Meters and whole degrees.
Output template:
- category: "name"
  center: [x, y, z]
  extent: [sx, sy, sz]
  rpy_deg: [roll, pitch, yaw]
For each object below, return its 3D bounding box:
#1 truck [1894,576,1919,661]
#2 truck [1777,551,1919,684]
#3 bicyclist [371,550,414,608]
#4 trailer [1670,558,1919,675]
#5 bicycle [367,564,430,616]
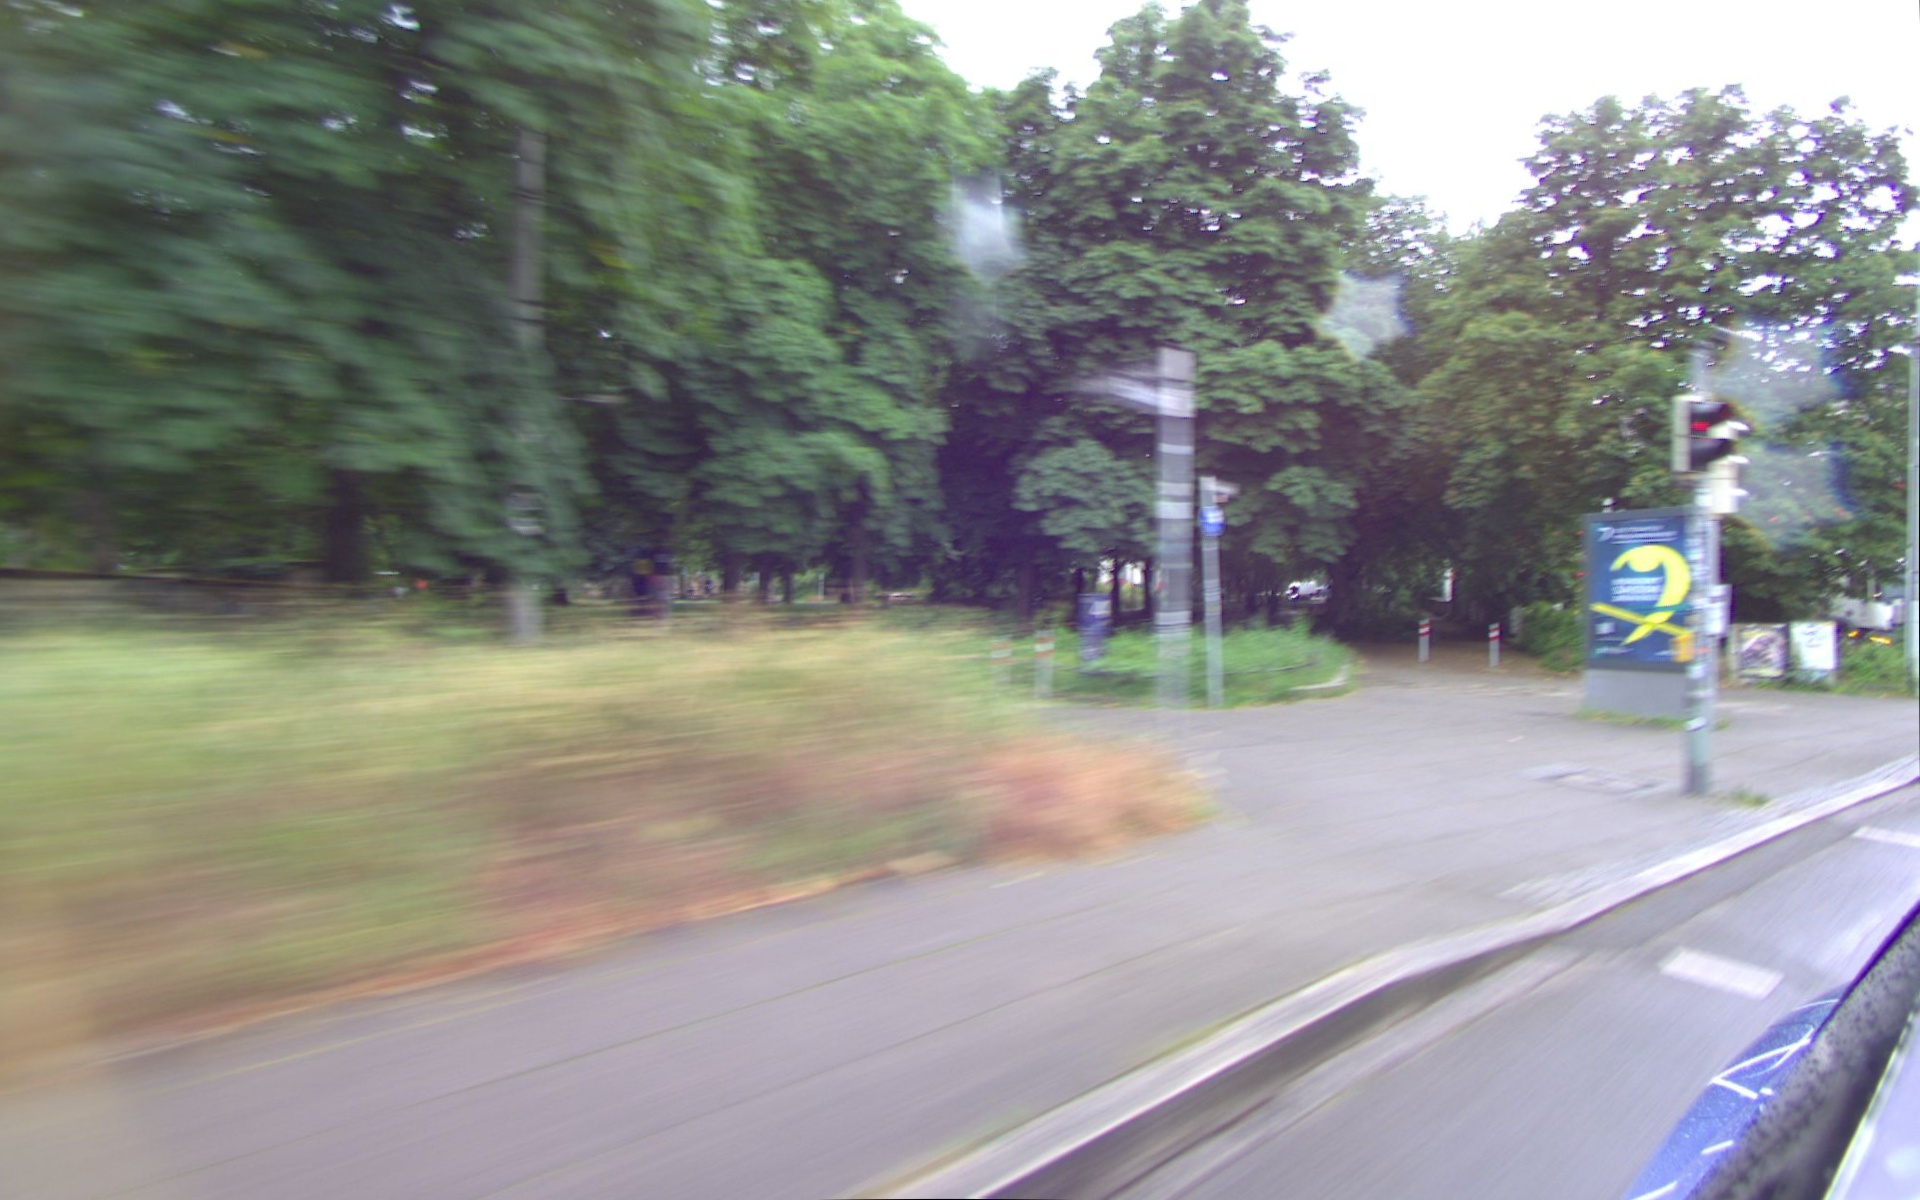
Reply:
- category: "truck"
  center: [45.277, 0.848, 44.855]
  extent: [10.047, 3.614, 2.666]
  rpy_deg: [1, 0, -29]
- category: "truck"
  center: [26.520, 0.474, 28.935]
  extent: [2.799, 3.442, 6.090]
  rpy_deg: [2, 0, 18]
- category: "bicyclist"
  center: [-13.189, -0.488, 23.526]
  extent: [0.795, 1.310, 0.587]
  rpy_deg: [1, 1, 36]
- category: "trailer"
  center: [28.291, 0.443, 35.045]
  extent: [2.773, 3.438, 9.790]
  rpy_deg: [1, 0, 15]
- category: "bicycle"
  center: [-12.926, -0.234, 23.284]
  extent: [1.702, 1.154, 0.617]
  rpy_deg: [1, 0, 37]
